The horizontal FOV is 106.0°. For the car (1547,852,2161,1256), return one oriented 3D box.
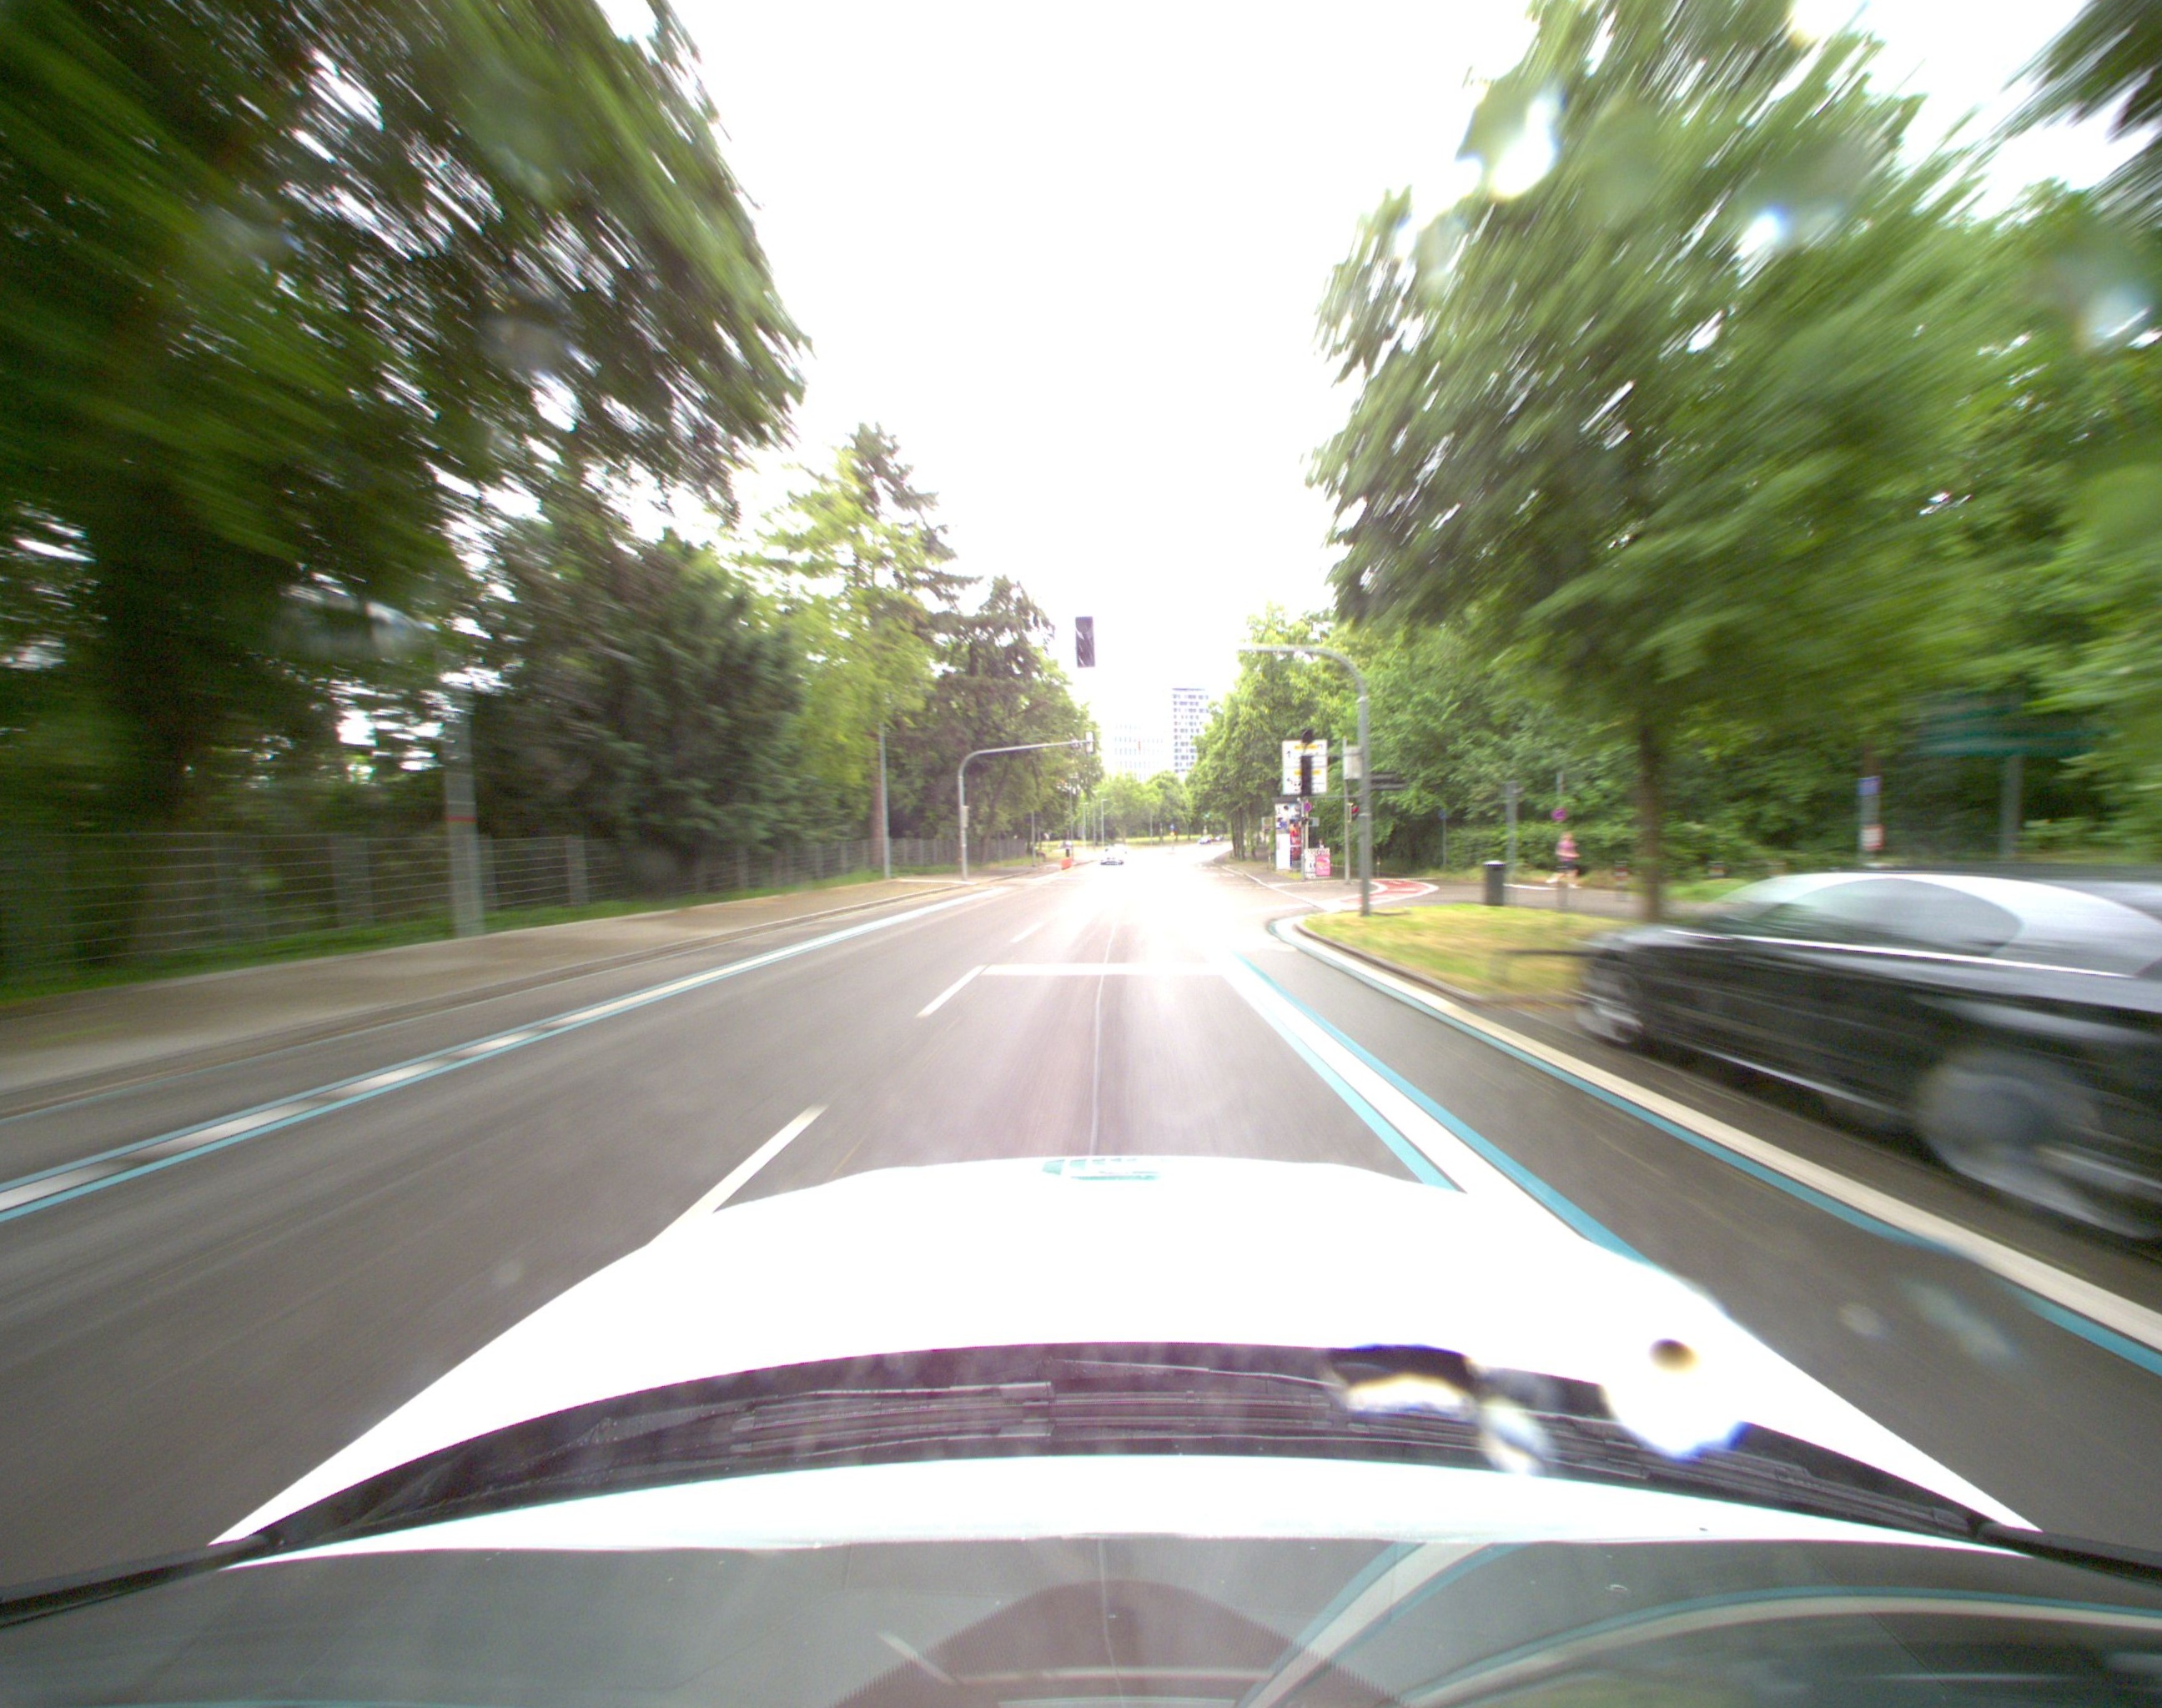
[{"bbox_3d":[4.800,0.716,4.578,1.750,1.439,4.860,0,0,2],"label":"car"}]

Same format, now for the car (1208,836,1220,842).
[{"bbox_3d":[30.282,-3.367,185.611,1.792,1.286,3.761,0,0,24],"label":"car"}]

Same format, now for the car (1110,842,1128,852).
[{"bbox_3d":[5.743,-1.045,122.619,1.604,1.441,3.982,0,2,-14],"label":"car"}]

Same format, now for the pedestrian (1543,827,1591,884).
[{"bbox_3d":[15.289,0.050,25.610,1.131,1.733,0.895,0,0,42],"label":"pedestrian"}]

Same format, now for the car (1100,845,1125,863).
[{"bbox_3d":[2.826,-0.023,71.093,1.834,1.457,4.509,-1,1,6],"label":"car"}]
